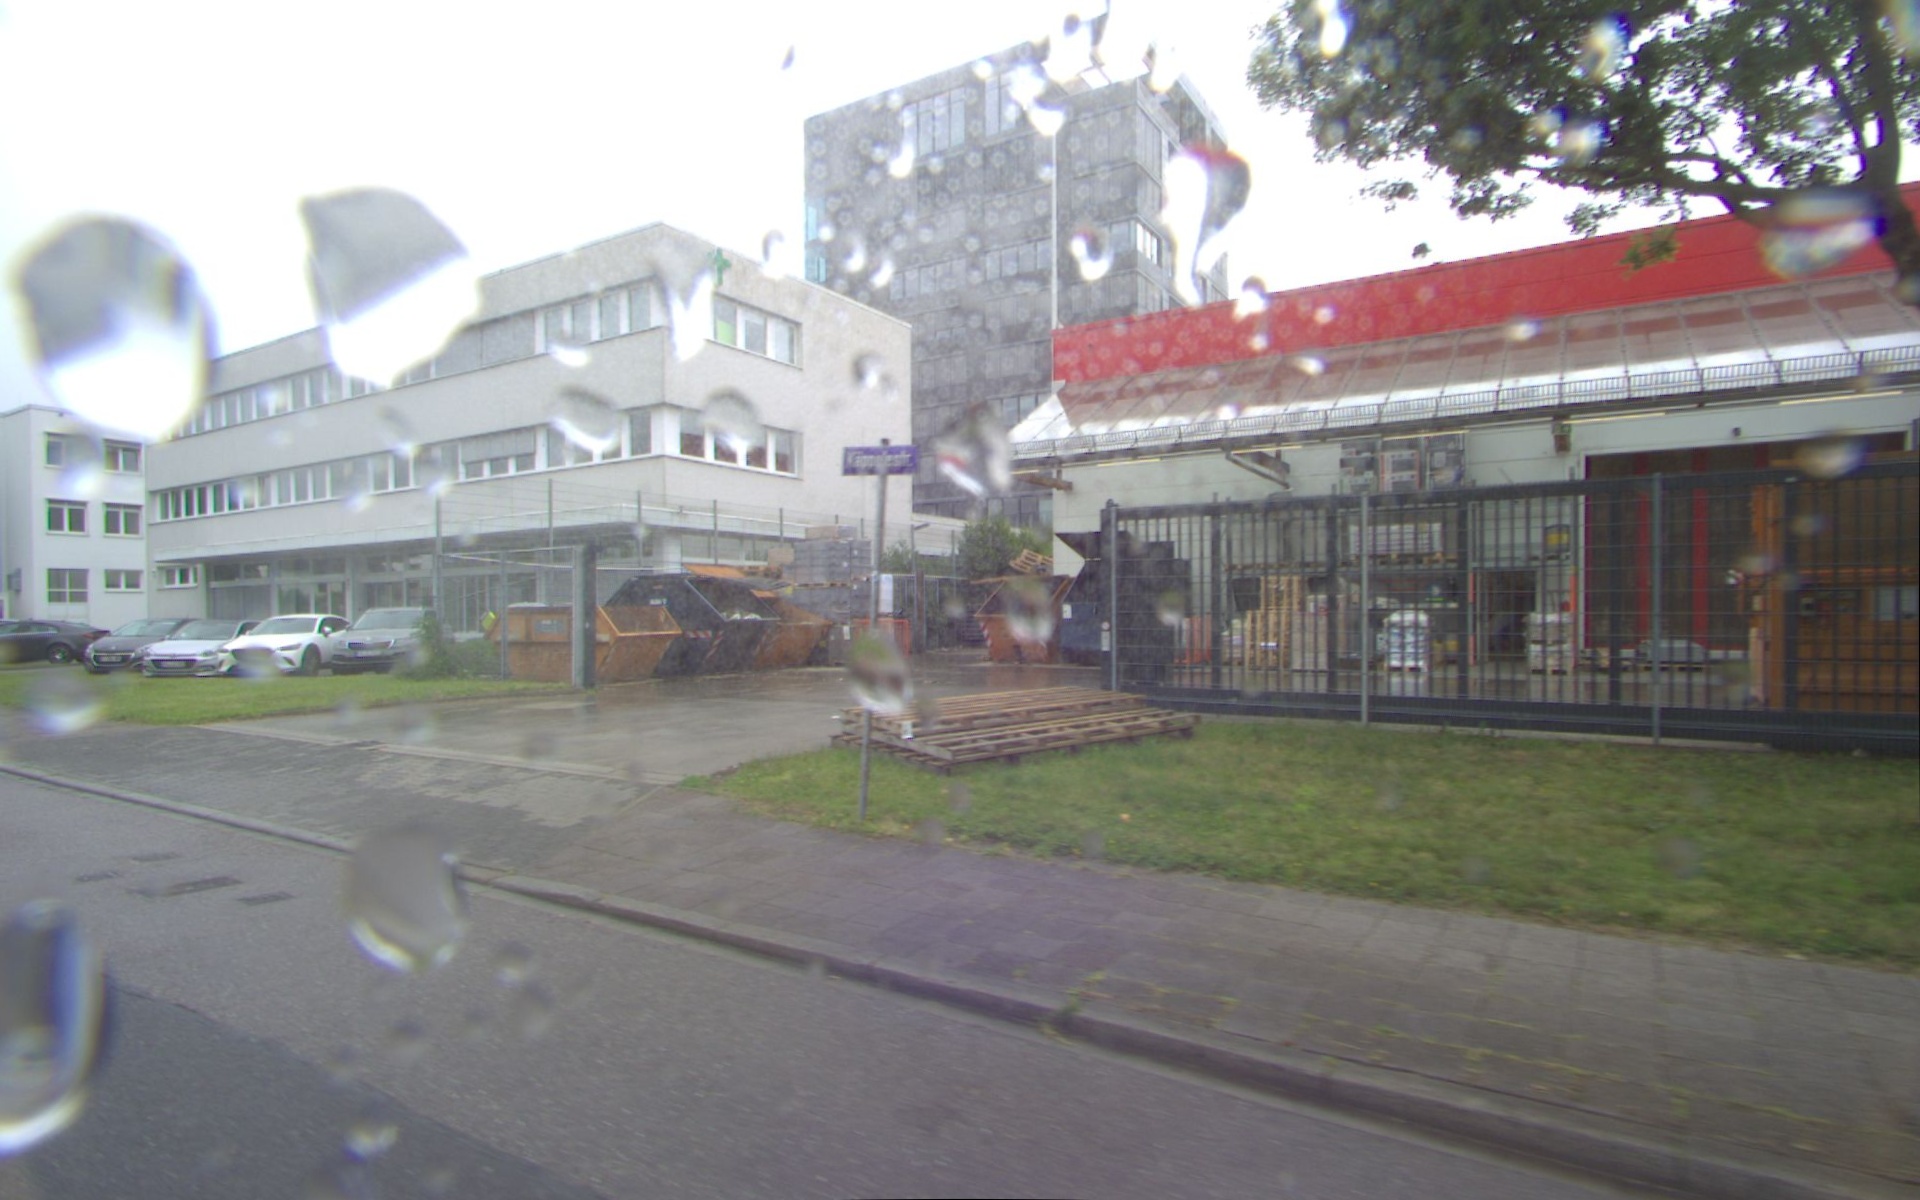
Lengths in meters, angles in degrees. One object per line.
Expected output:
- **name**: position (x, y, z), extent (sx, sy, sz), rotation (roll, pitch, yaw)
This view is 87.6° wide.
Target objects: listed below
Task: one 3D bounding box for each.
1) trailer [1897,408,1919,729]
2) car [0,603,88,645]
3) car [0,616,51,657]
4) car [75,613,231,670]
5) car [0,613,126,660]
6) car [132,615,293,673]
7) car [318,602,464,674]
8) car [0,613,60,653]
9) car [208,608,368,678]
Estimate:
- **trailer**: position (16.555, -0.545, 10.492), extent (9.339, 4.298, 2.960), rotation (-2, -1, 33)
- **car**: position (-47.656, 1.192, 49.631), extent (1.969, 2.039, 6.449), rotation (-1, -2, 28)
- **car**: position (-36.231, 1.298, 36.814), extent (3.715, 1.414, 1.724), rotation (3, -1, -17)
- **car**: position (-21.338, 1.046, 26.665), extent (1.675, 1.411, 3.765), rotation (0, 0, -11)
- **car**: position (-30.855, 1.196, 33.180), extent (4.596, 1.487, 1.787), rotation (0, 0, -19)
- **car**: position (-18.669, 1.046, 25.239), extent (1.675, 1.303, 3.996), rotation (0, 0, -11)
- **car**: position (-13.270, 0.844, 23.640), extent (1.838, 1.547, 3.996), rotation (0, 0, -12)
- **car**: position (-37.835, 1.251, 38.806), extent (4.077, 1.435, 1.687), rotation (1, 1, -17)
- **car**: position (-15.795, 0.951, 23.802), extent (1.742, 1.489, 3.996), rotation (0, 0, -11)
